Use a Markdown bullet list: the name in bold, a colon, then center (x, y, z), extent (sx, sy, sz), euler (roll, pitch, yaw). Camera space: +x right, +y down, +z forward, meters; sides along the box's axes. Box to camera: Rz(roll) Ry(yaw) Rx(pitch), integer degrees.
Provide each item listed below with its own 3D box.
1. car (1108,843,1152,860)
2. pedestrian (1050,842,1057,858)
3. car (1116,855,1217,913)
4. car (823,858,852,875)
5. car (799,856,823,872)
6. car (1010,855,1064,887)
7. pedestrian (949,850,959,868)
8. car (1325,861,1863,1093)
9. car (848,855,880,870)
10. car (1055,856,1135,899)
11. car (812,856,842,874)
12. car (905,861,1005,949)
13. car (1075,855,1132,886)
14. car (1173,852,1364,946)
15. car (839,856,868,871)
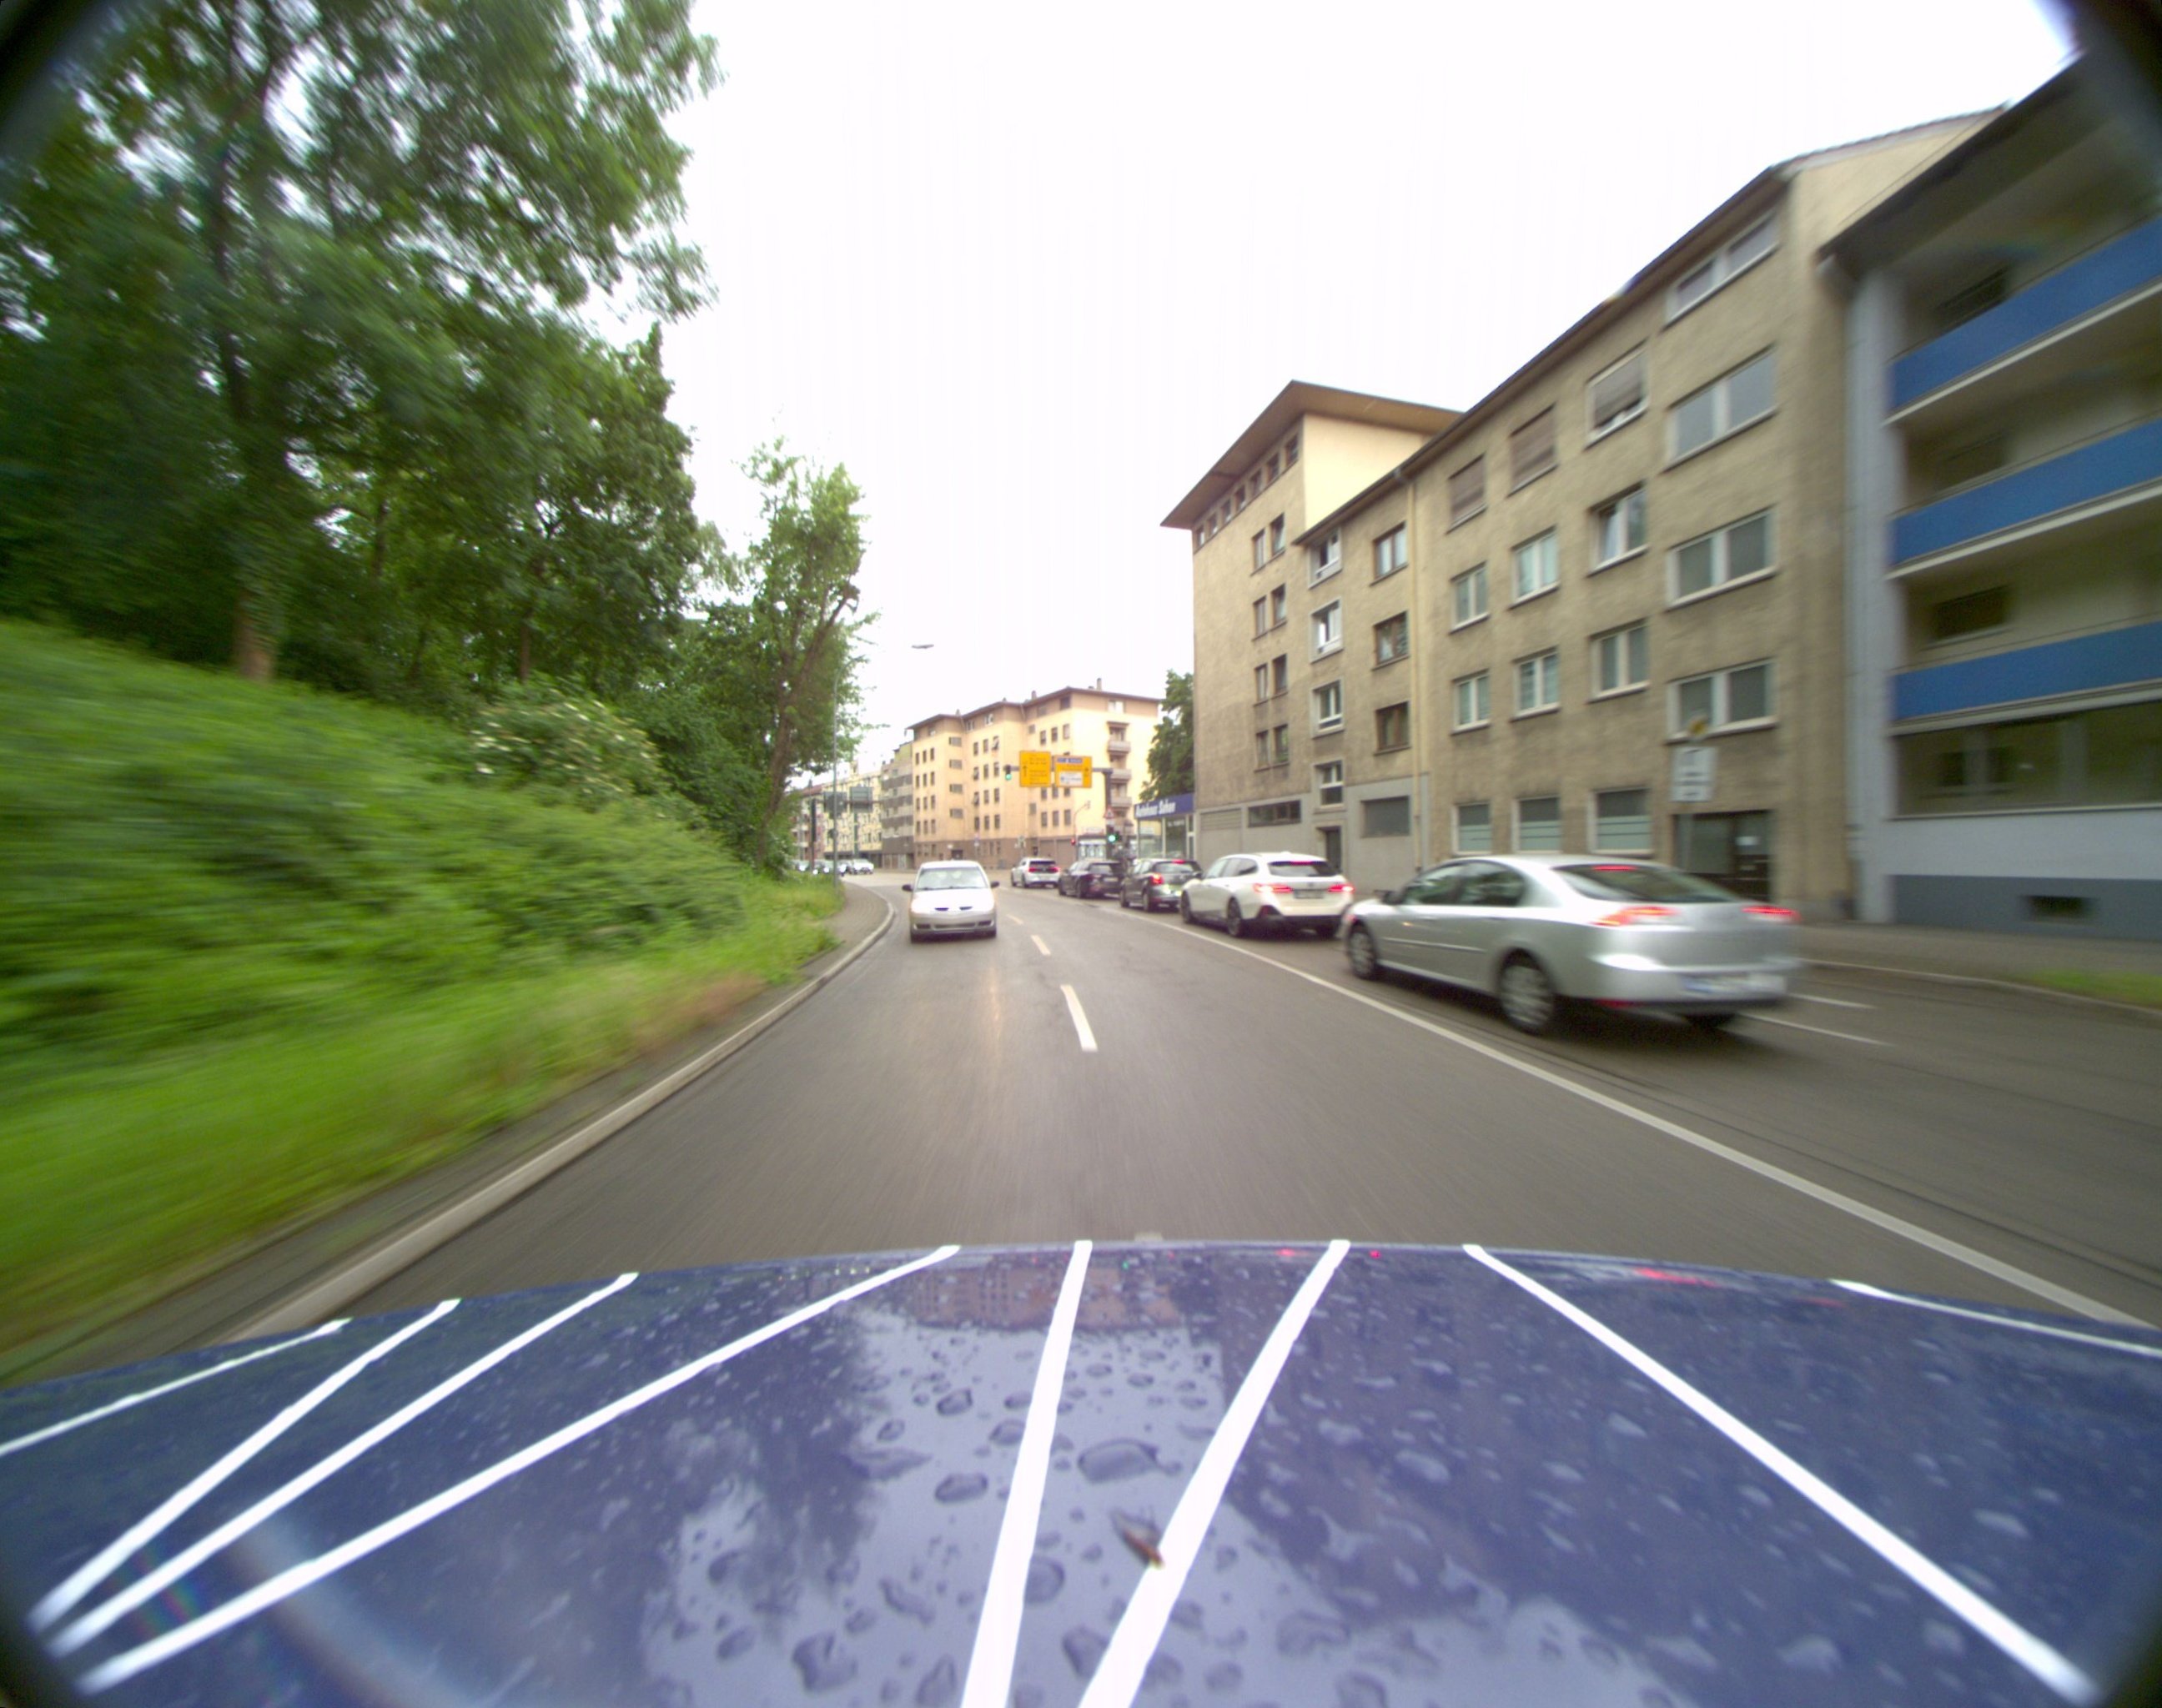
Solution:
- **car**: center (4.821, -0.279, 75.287), extent (1.763, 1.638, 4.269), euler (-3, 3, -42)
- **pedestrian**: center (-2.691, -0.387, 74.324), extent (0.582, 1.629, 0.618), euler (-1, 1, -11)
- **car**: center (2.246, 0.756, 21.016), extent (1.686, 1.439, 3.816), euler (0, 0, -12)
- **car**: center (-22.302, 1.102, 69.518), extent (1.822, 1.400, 4.223), euler (-3, 1, -27)
- **car**: center (-29.717, 1.053, 83.570), extent (1.684, 1.646, 3.990), euler (-2, 1, -31)
- **car**: center (-2.252, 0.797, 38.007), extent (1.792, 1.487, 4.209), euler (0, 0, -17)
- **pedestrian**: center (-14.466, 0.623, 86.384), extent (0.812, 2.002, 0.857), euler (-3, 0, -33)
- **car**: center (4.184, 0.826, 7.312), extent (1.758, 1.417, 4.534), euler (-1, 0, -7)
- **car**: center (-21.748, 0.841, 76.113), extent (1.882, 1.469, 4.543), euler (-2, 1, -31)
- **car**: center (0.419, 0.803, 28.234), extent (1.797, 1.399, 4.619), euler (-1, 0, -15)
- **car**: center (-25.161, 1.052, 75.151), extent (2.003, 1.607, 4.609), euler (-3, 1, -28)
- **car**: center (-2.745, 0.956, 16.066), extent (1.754, 1.510, 3.996), euler (-3, 0, -12)
- **car**: center (1.050, 0.780, 38.231), extent (1.664, 1.447, 3.994), euler (0, 0, -17)
- **car**: center (3.357, 0.713, 14.809), extent (1.826, 1.507, 5.024), euler (0, 0, -9)
- **car**: center (-24.117, 0.951, 80.384), extent (1.923, 1.469, 4.609), euler (-2, 1, -30)
